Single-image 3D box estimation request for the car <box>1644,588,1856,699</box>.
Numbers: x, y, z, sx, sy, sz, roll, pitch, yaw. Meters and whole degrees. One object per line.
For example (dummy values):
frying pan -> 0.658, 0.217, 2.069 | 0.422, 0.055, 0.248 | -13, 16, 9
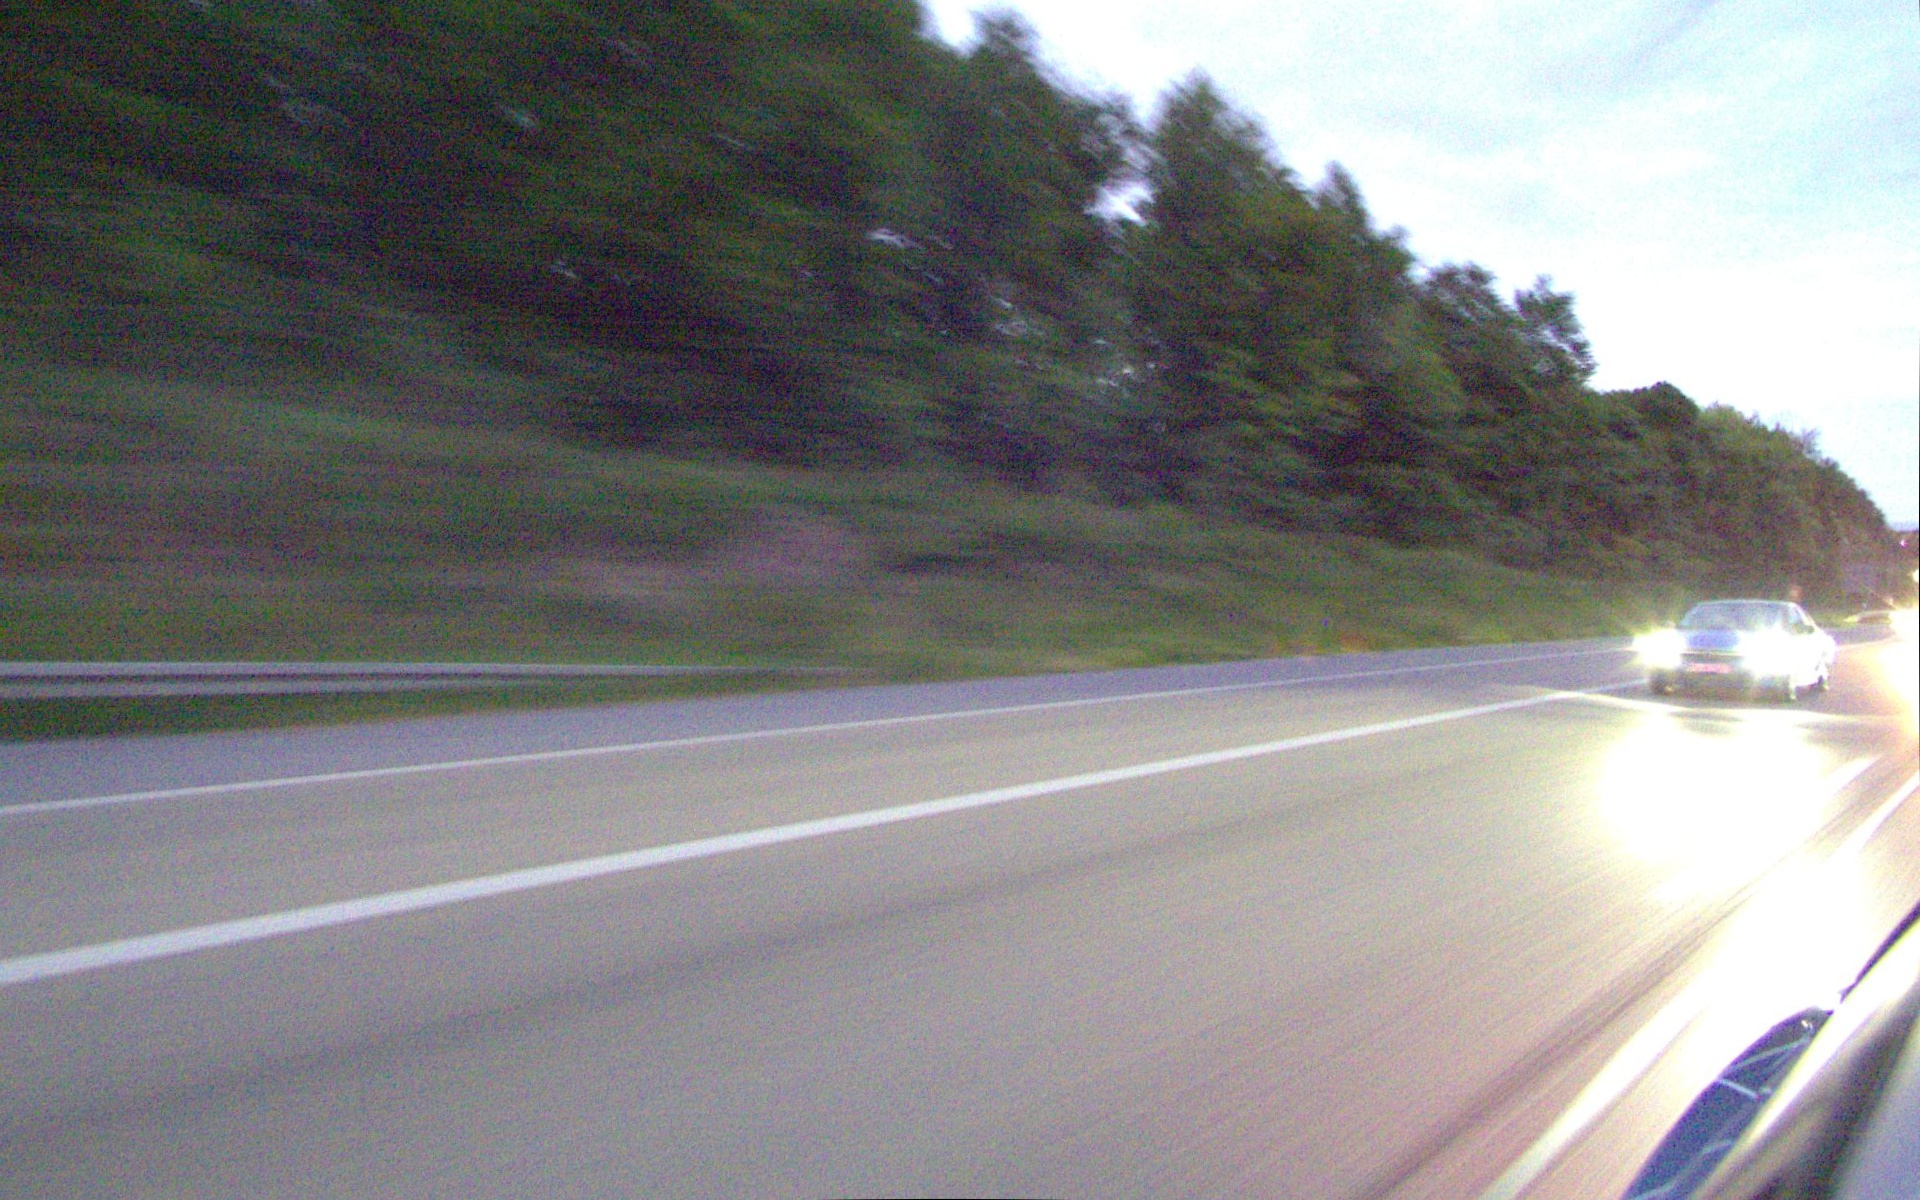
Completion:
car -> 12.398, 0.562, 15.772 | 4.506, 1.454, 1.868 | -1, 1, -42
